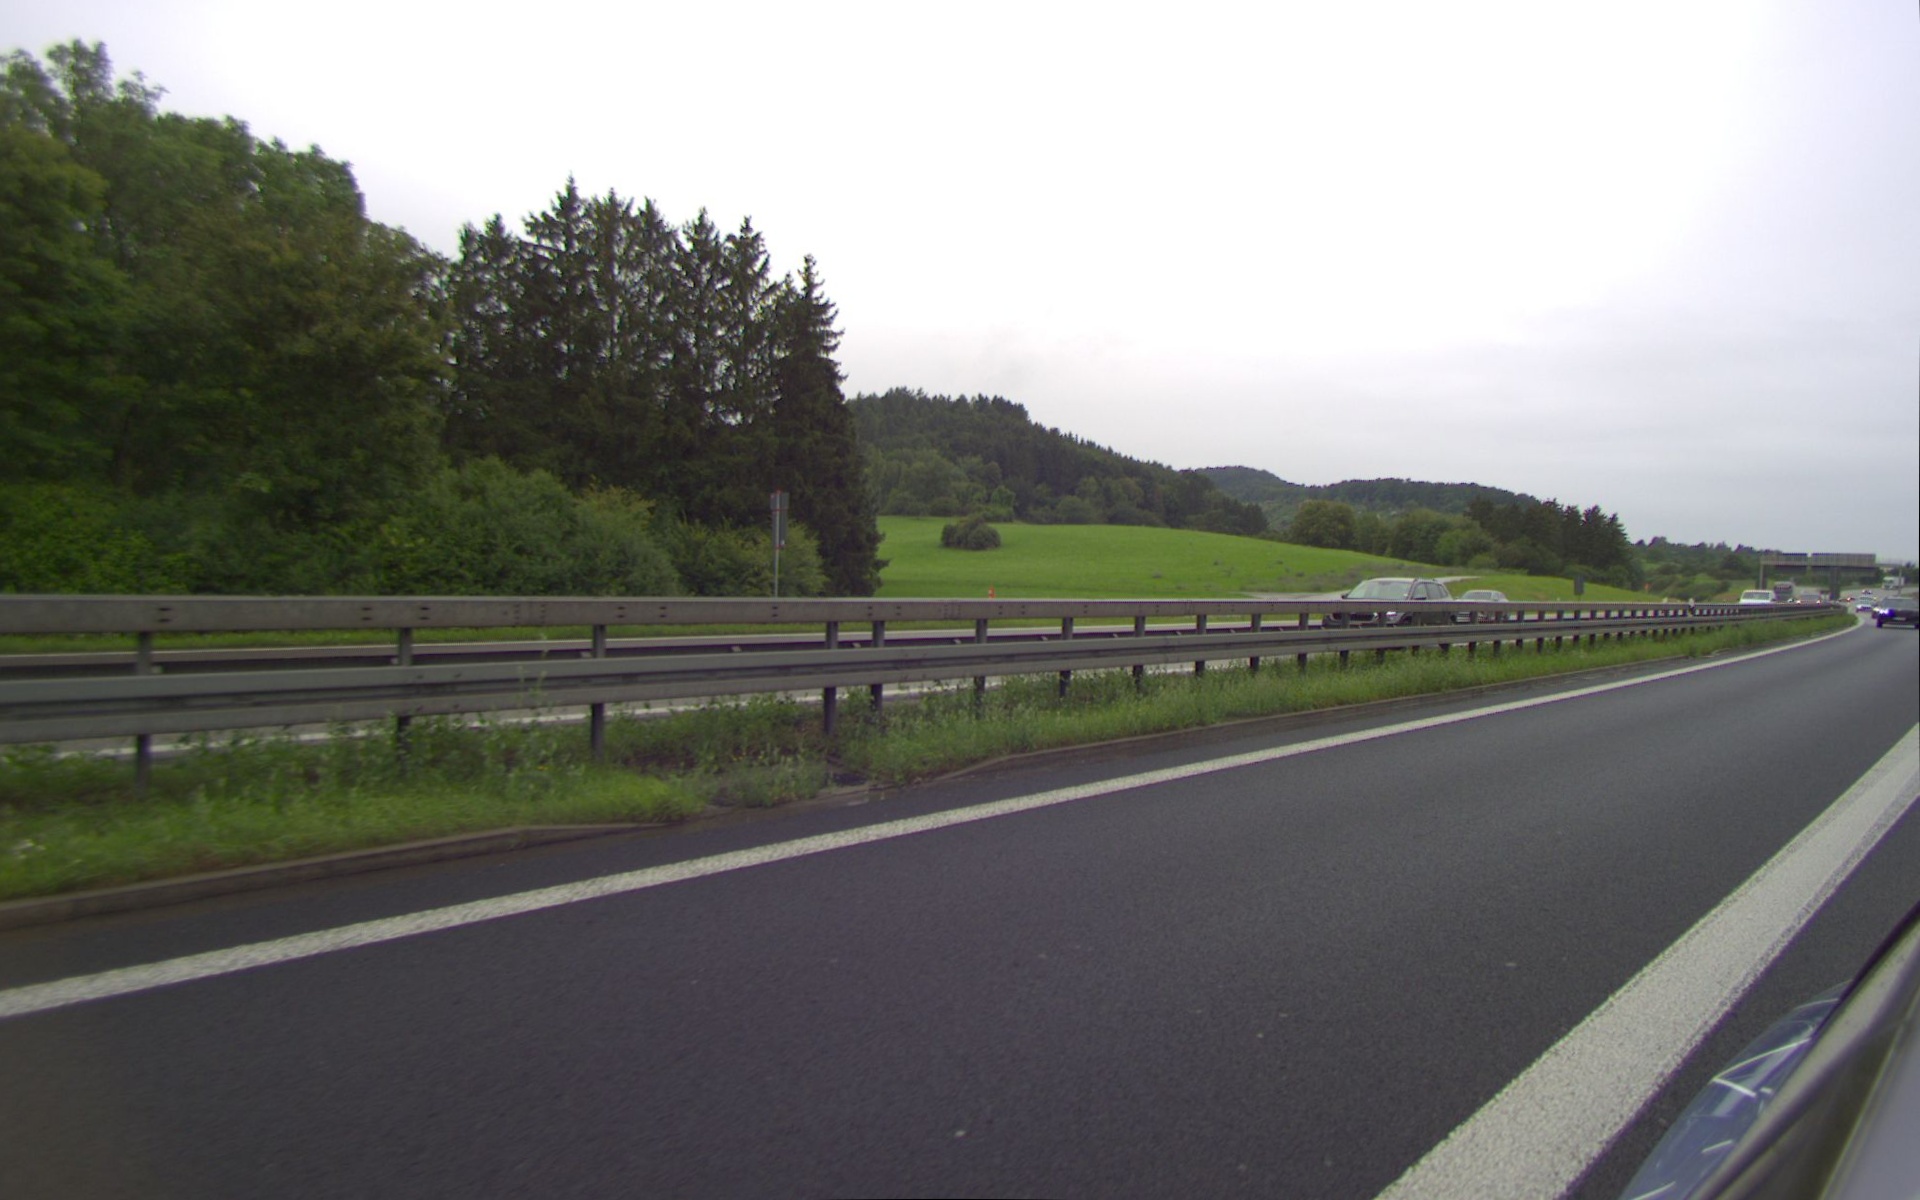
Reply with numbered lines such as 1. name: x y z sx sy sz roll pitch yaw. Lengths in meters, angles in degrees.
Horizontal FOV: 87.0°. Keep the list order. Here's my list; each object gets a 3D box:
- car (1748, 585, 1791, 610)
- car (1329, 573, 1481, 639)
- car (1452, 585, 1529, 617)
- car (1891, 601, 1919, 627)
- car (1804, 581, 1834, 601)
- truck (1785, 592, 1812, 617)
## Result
1. car: 56.642 -0.190 70.785 1.909 1.715 4.644 1 1 44
2. car: 10.289 0.099 23.288 4.054 1.400 1.669 0 1 -42
3. car: 25.562 0.023 48.716 4.631 1.473 1.901 0 1 -43
4. car: 54.078 0.766 57.300 1.861 1.374 4.498 1 1 42
5. car: 88.669 -0.956 104.434 2.124 2.039 4.997 1 1 44
6. truck: 138.008 0.687 166.534 2.791 3.949 9.872 1 1 43
